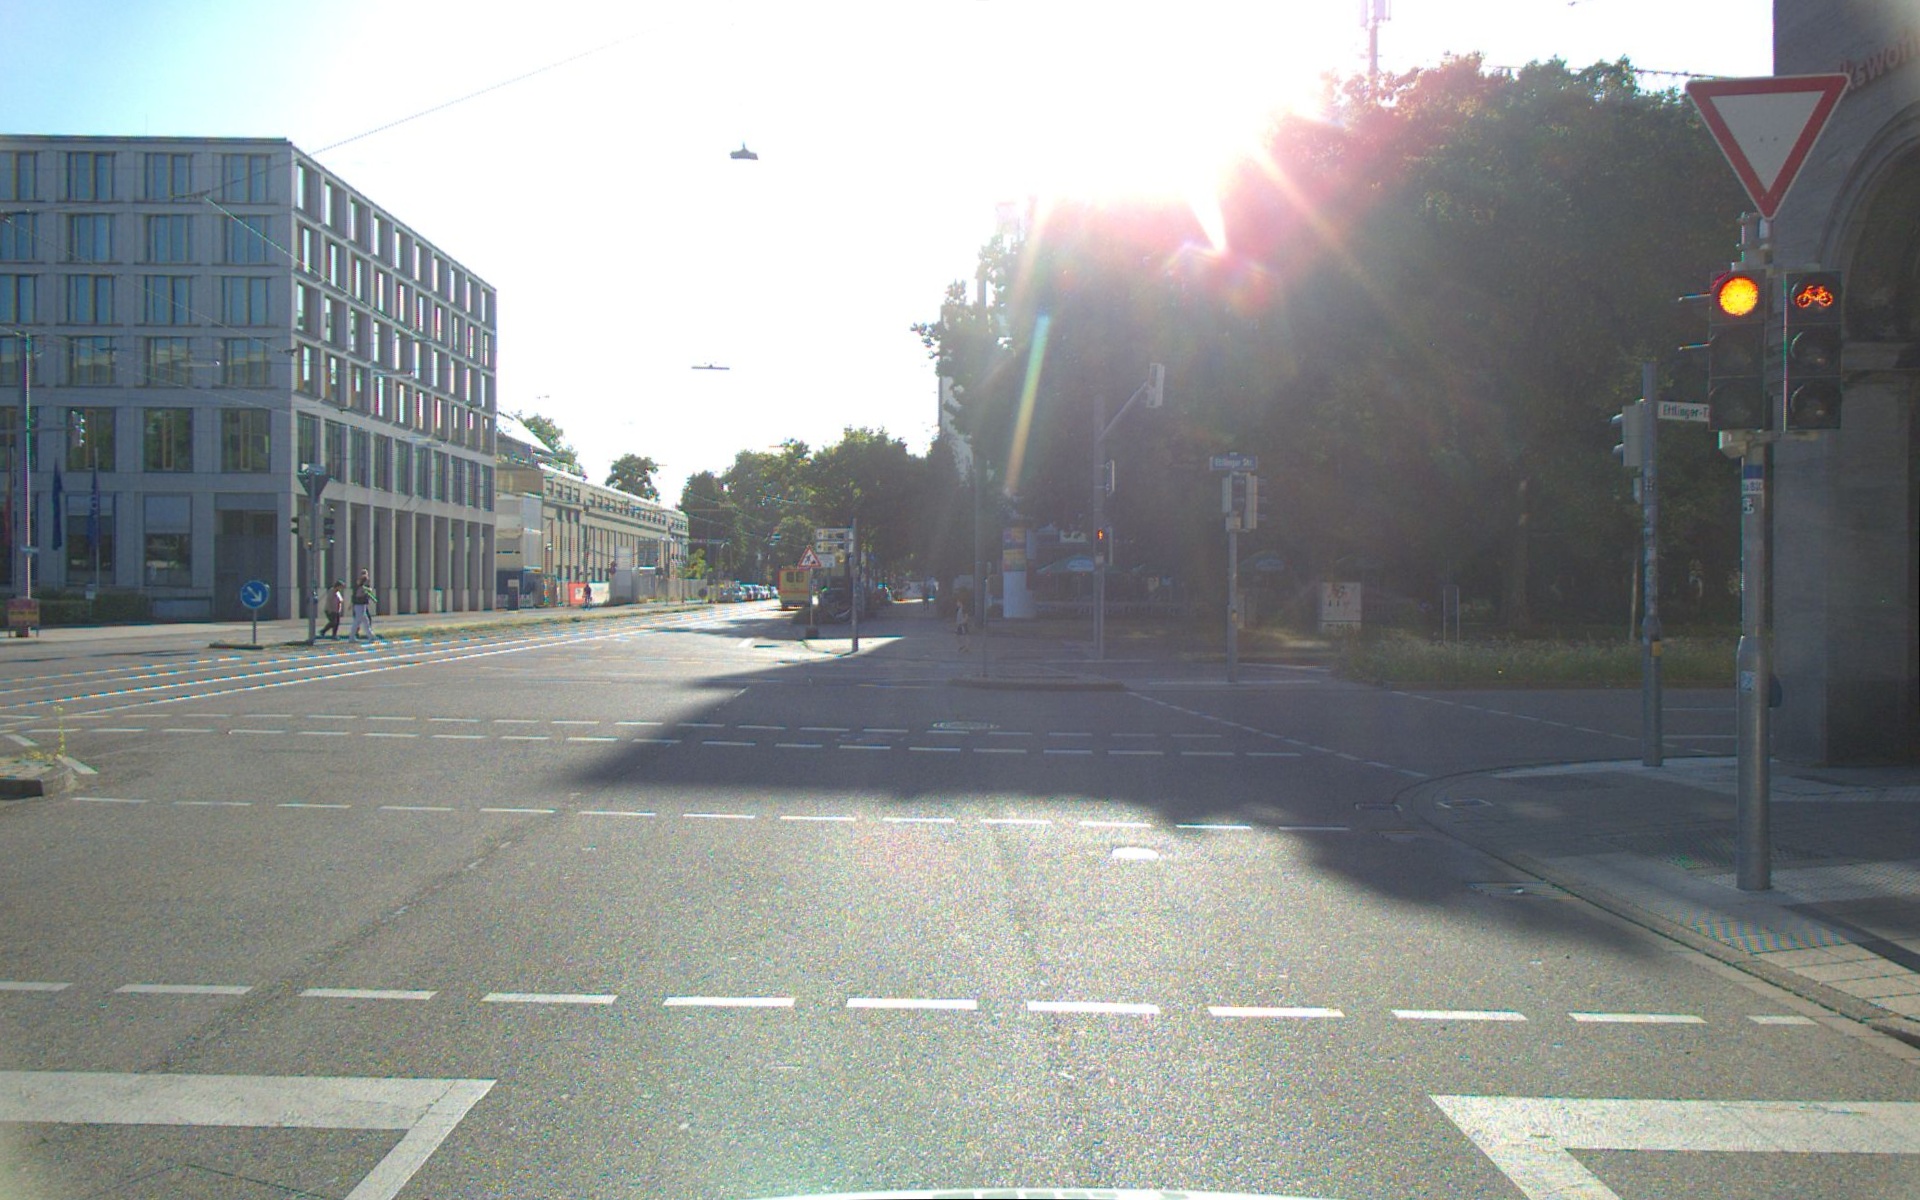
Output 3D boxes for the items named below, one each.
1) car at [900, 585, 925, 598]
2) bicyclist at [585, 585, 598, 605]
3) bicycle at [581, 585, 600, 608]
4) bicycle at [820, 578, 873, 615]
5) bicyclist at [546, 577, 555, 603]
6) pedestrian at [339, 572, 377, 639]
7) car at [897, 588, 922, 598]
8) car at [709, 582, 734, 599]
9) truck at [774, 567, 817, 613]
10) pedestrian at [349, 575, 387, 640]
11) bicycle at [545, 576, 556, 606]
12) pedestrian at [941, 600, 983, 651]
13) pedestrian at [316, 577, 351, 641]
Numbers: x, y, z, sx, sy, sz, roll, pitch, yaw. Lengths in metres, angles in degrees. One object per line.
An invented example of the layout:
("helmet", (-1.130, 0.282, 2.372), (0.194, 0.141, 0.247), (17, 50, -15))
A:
("car", (-6.096, -1.047, 213.343), (3.152, 1.616, 1.445), (1, 0, -5))
("bicyclist", (-25.304, -0.318, 113.680), (0.675, 1.351, 1.000), (1, 0, -1))
("bicycle", (-25.351, -0.222, 113.609), (0.675, 1.538, 2.944), (1, 0, -1))
("bicycle", (-5.570, -0.163, 81.345), (2.495, 1.774, 1.037), (1, 0, -1))
("bicyclist", (-32.113, -0.808, 129.727), (0.559, 2.059, 0.761), (0, 0, -2))
("pedestrian", (-16.211, 0.156, 44.572), (0.732, 1.792, 0.678), (-1, -1, 4))
("car", (-6.407, -0.899, 211.073), (3.153, 1.285, 1.372), (1, 0, -2))
("car", (-22.491, -0.887, 155.964), (1.856, 1.635, 4.498), (0, 0, -3))
("truck", (-11.153, -0.670, 112.789), (2.662, 3.068, 6.484), (0, 0, -4))
("pedestrian", (-15.269, 0.191, 42.665), (0.777, 1.673, 0.620), (0, 0, -5))
("bicycle", (-32.118, -0.671, 129.735), (0.559, 2.336, 1.422), (0, 0, -2))
("pedestrian", (0.061, 0.663, 43.566), (0.750, 1.340, 0.995), (0, 0, 27))
("pedestrian", (-16.560, 0.239, 43.752), (0.680, 1.673, 0.621), (0, 0, 0))
